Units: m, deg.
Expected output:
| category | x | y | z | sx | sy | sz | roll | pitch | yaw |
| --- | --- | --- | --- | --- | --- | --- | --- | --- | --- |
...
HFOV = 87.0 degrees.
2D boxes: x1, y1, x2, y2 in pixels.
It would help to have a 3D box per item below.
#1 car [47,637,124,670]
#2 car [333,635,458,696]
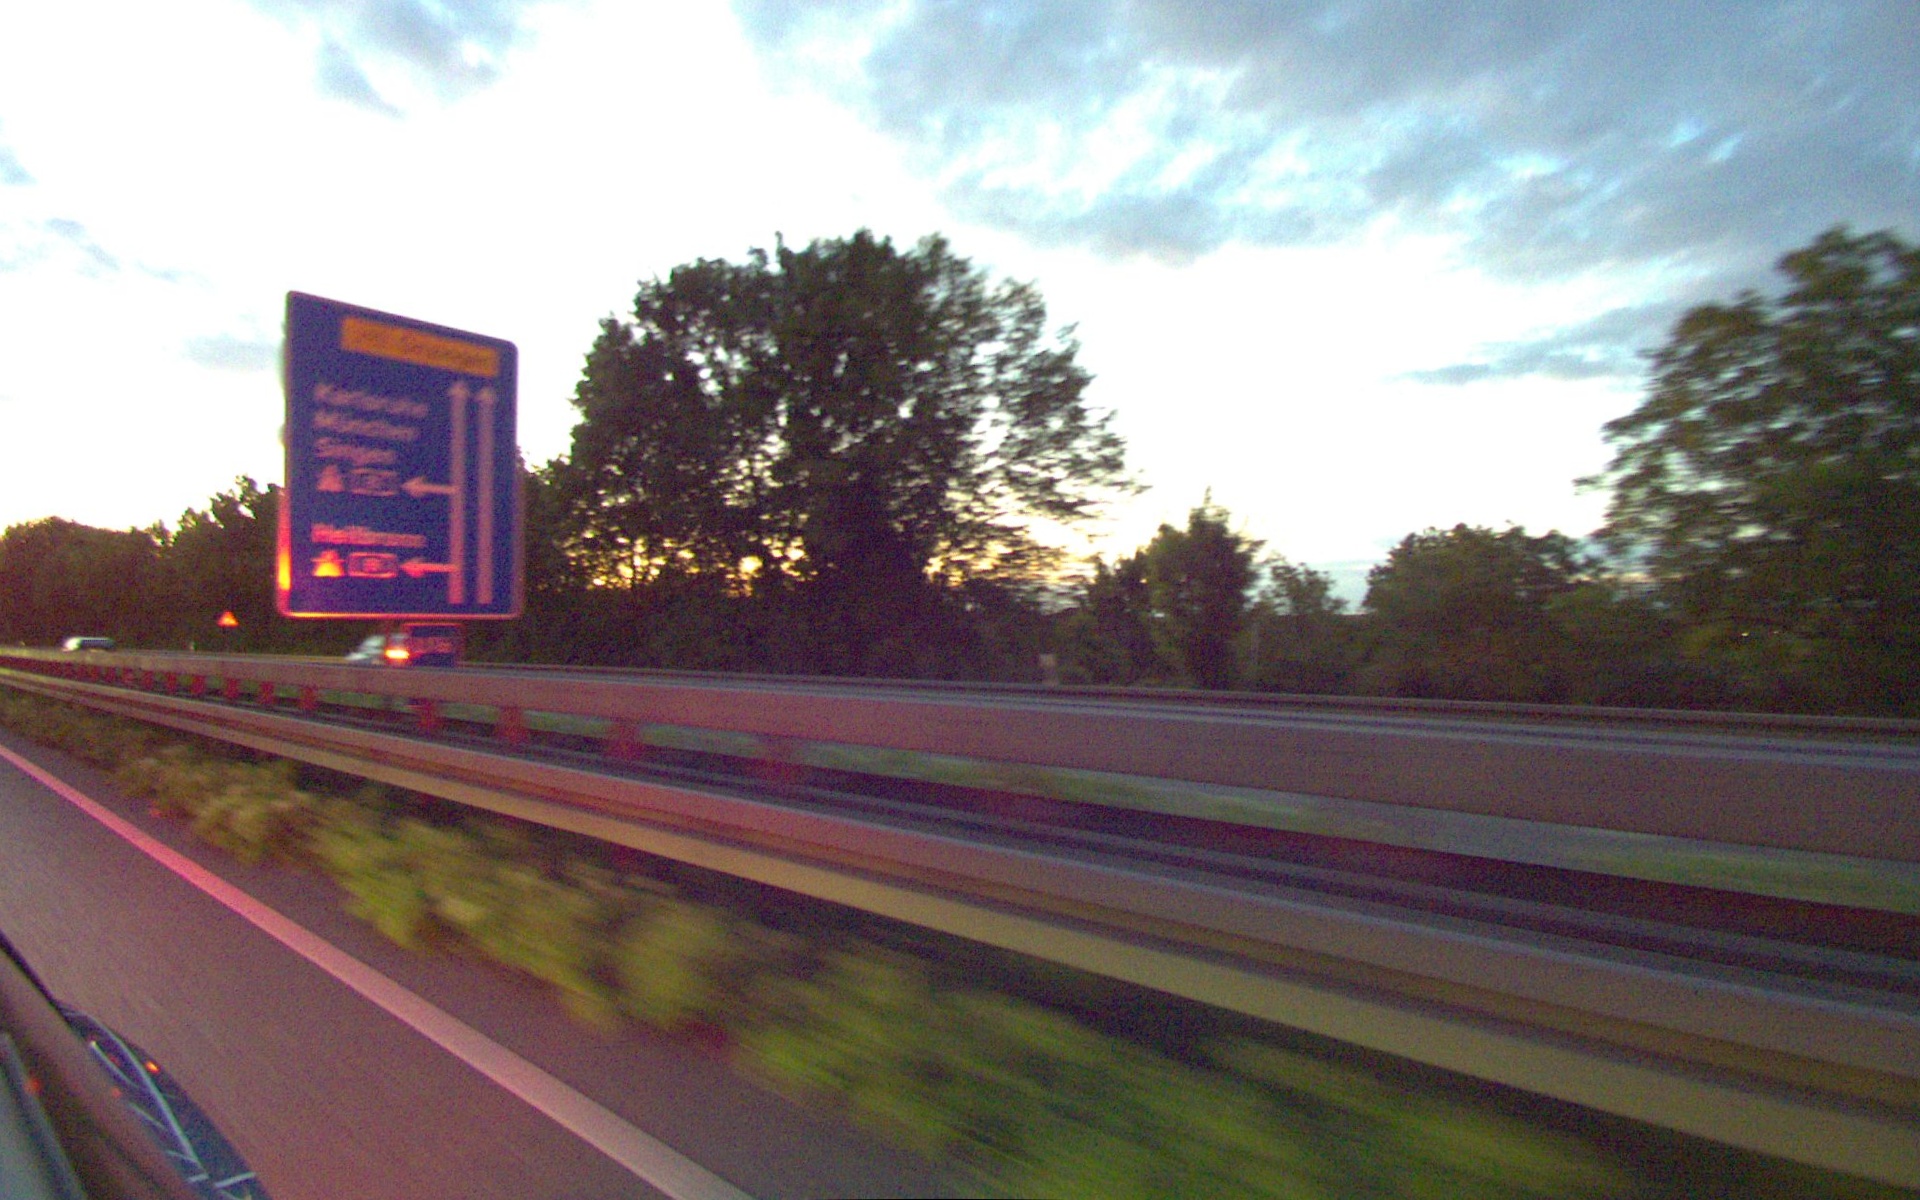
| category | x | y | z | sx | sy | sz | roll | pitch | yaw |
| --- | --- | --- | --- | --- | --- | --- | --- | --- | --- |
| car | -40.074 | 2.418 | 46.354 | 4.497 | 1.443 | 1.901 | -2 | -3 | 39 |
| car | -17.055 | 1.913 | 30.475 | 4.497 | 1.684 | 1.777 | -2 | -2 | 39 |
